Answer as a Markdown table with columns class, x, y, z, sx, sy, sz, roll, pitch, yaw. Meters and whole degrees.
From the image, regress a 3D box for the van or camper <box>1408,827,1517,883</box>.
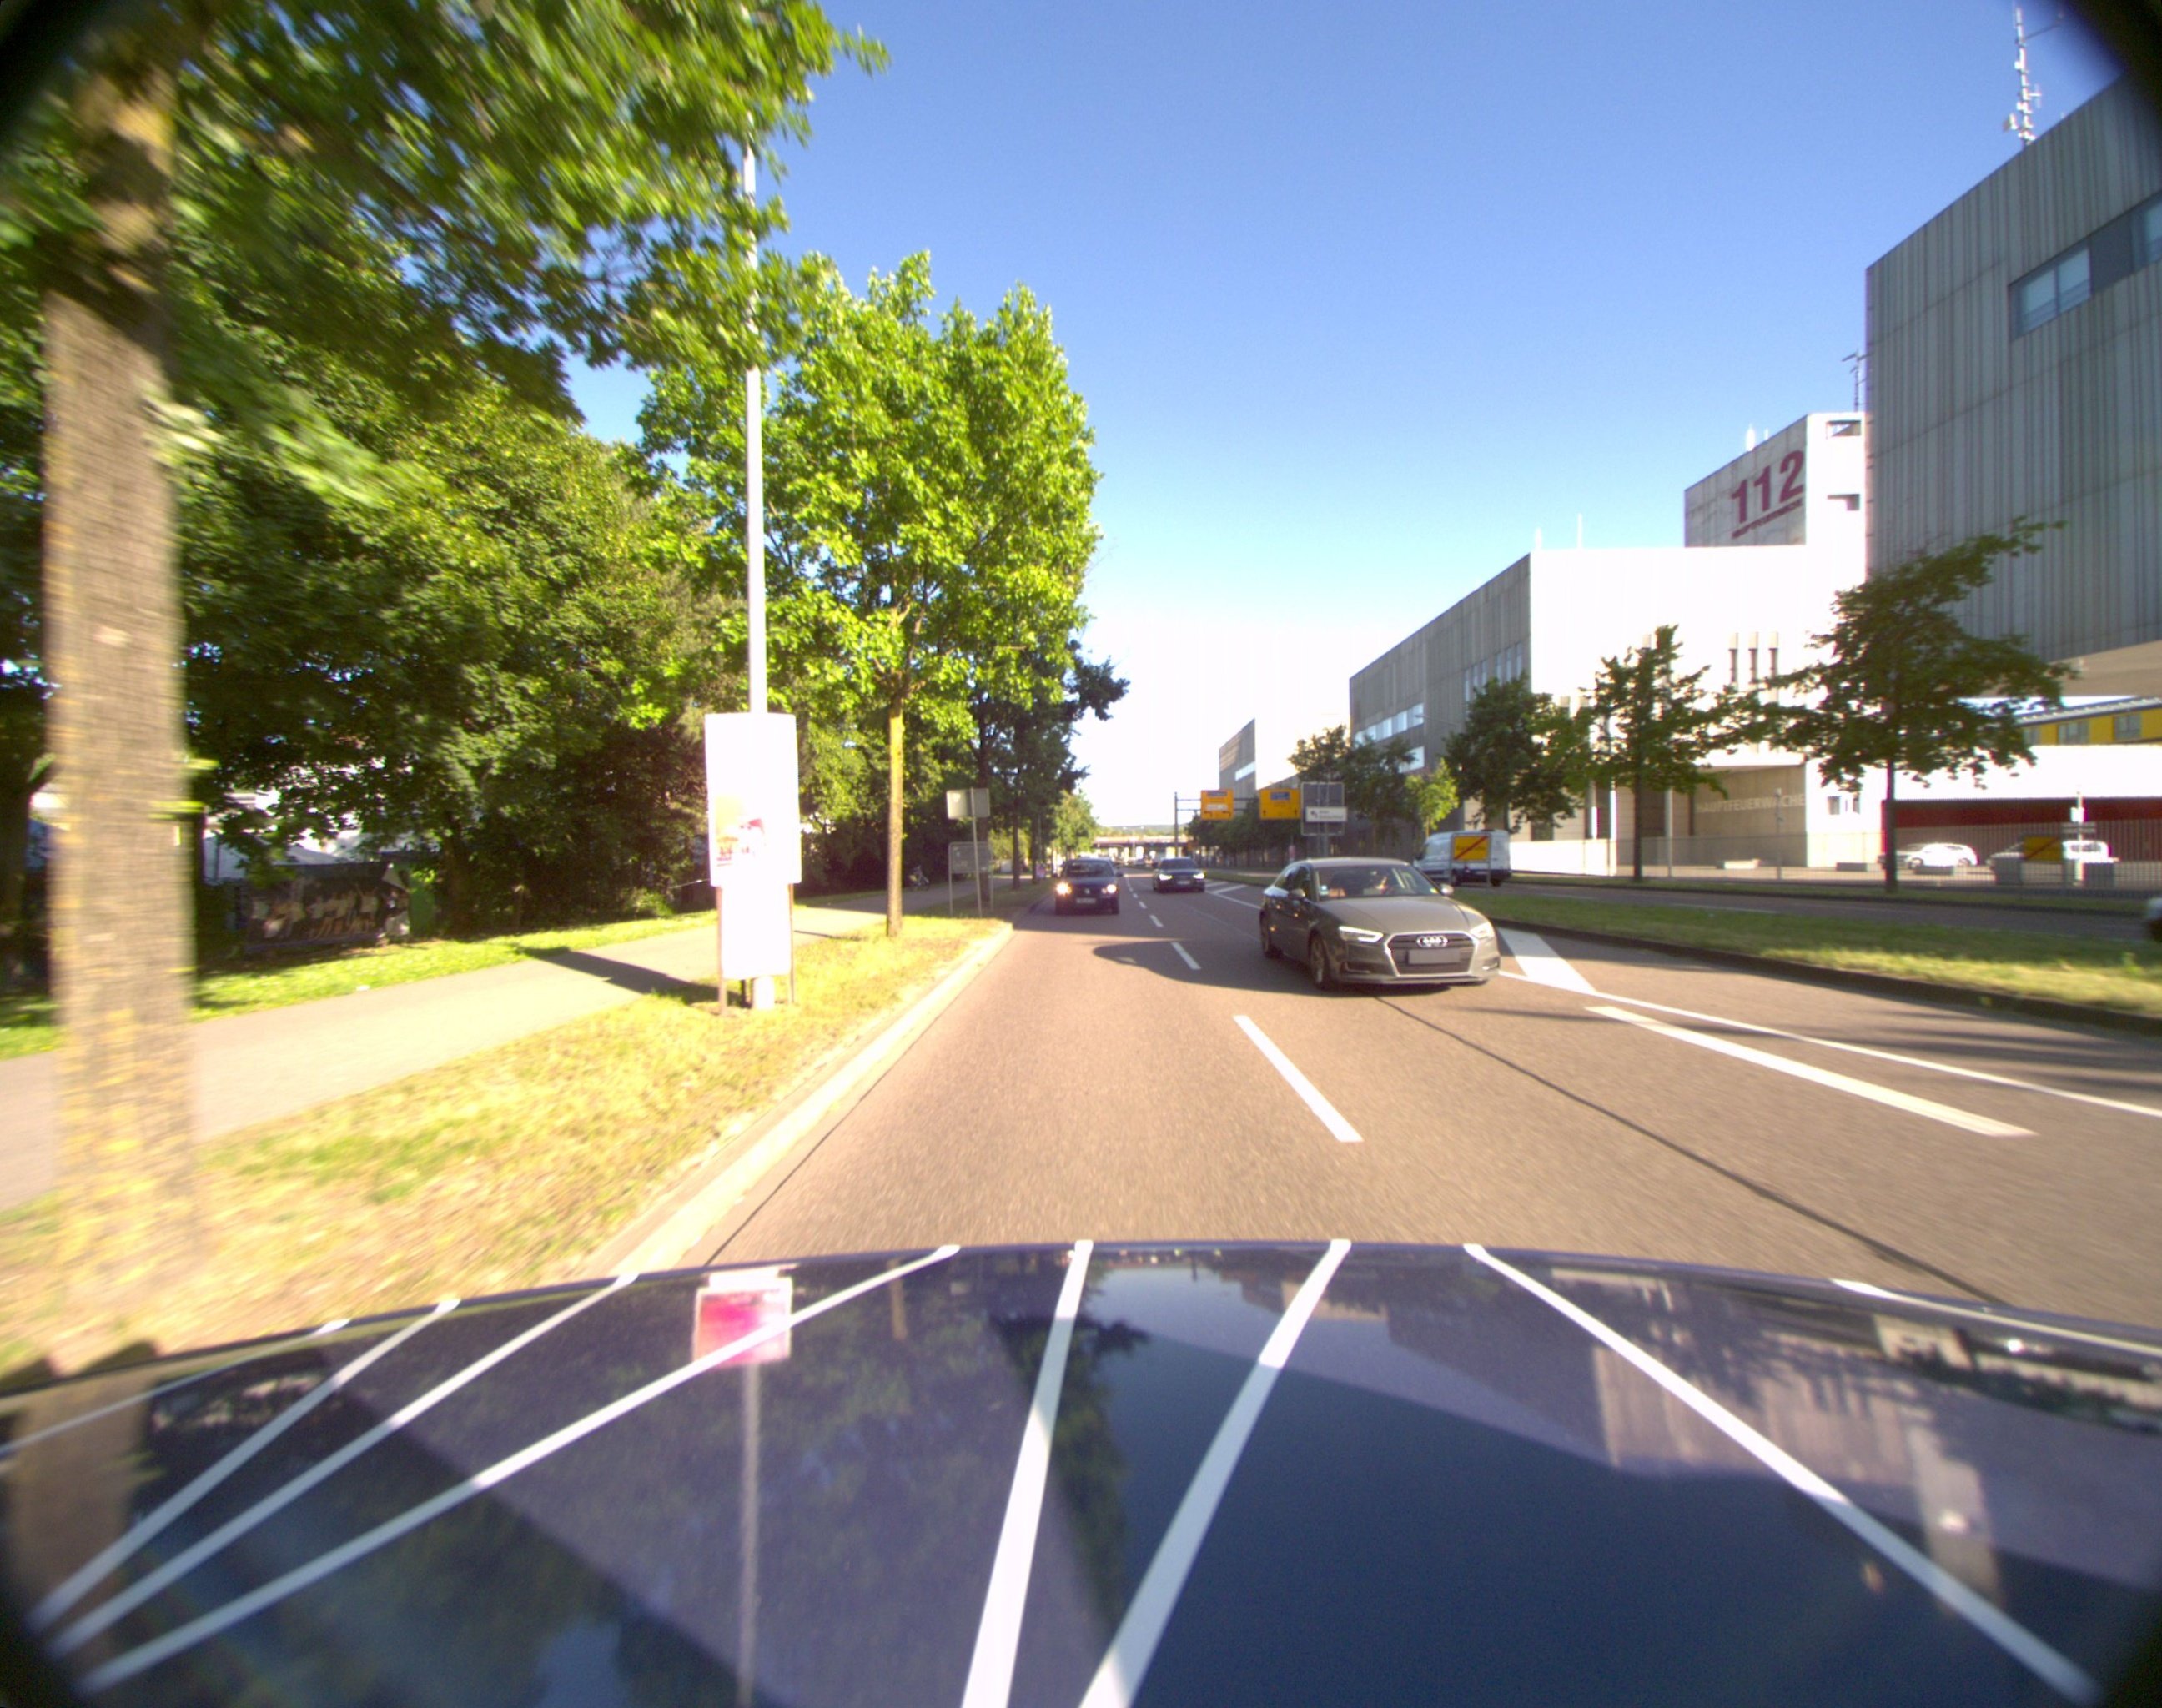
| class | x | y | z | sx | sy | sz | roll | pitch | yaw |
| --- | --- | --- | --- | --- | --- | --- | --- | --- | --- |
| van or camper | 17.313 | 0.040 | 34.882 | 1.998 | 2.355 | 5.993 | 1 | 0 | 1 |

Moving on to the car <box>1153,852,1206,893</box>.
| class | x | y | z | sx | sy | sz | roll | pitch | yaw |
| --- | --- | --- | --- | --- | --- | --- | --- | --- | --- |
| car | 4.037 | 0.724 | 31.603 | 1.702 | 1.528 | 3.947 | -2 | 0 | 1 |

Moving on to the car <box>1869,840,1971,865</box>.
| class | x | y | z | sx | sy | sz | roll | pitch | yaw |
| --- | --- | --- | --- | --- | --- | --- | --- | --- | --- |
| car | 52.128 | -0.096 | 47.264 | 4.266 | 1.444 | 1.762 | -1 | 0 | 3 |

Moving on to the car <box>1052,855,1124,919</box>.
| class | x | y | z | sx | sy | sz | roll | pitch | yaw |
| --- | --- | --- | --- | --- | --- | --- | --- | --- | --- |
| car | 0.197 | 0.817 | 20.611 | 1.702 | 1.474 | 4.052 | -2 | 1 | 1 |

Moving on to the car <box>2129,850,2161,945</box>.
| class | x | y | z | sx | sy | sz | roll | pitch | yaw |
| --- | --- | --- | --- | --- | --- | --- | --- | --- | --- |
| car | 13.624 | 0.507 | 7.121 | 1.832 | 1.105 | 4.174 | -1 | 0 | -1 |

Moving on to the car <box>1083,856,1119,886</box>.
| class | x | y | z | sx | sy | sz | roll | pitch | yaw |
| --- | --- | --- | --- | --- | --- | --- | --- | --- | --- |
| car | 1.009 | 0.834 | 39.403 | 1.702 | 1.478 | 3.946 | -1 | 0 | 1 |

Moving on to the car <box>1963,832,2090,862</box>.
| class | x | y | z | sx | sy | sz | roll | pitch | yaw |
| --- | --- | --- | --- | --- | --- | --- | --- | --- | --- |
| car | 51.442 | -0.366 | 41.410 | 4.398 | 1.494 | 1.936 | -1 | 0 | 3 |

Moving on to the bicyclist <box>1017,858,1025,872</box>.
| class | x | y | z | sx | sy | sz | roll | pitch | yaw |
| --- | --- | --- | --- | --- | --- | --- | --- | --- | --- |
| bicyclist | -6.400 | 1.173 | 81.132 | 0.686 | 1.513 | 1.036 | -1 | 0 | -2 |

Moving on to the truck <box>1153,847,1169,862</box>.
| class | x | y | z | sx | sy | sz | roll | pitch | yaw |
| --- | --- | --- | --- | --- | --- | --- | --- | --- | --- |
| truck | 16.470 | 0.106 | 156.247 | 2.692 | 2.943 | 7.115 | 1 | 0 | 2 |

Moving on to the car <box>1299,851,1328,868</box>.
| class | x | y | z | sx | sy | sz | roll | pitch | yaw |
| --- | --- | --- | --- | --- | --- | --- | --- | --- | --- |
| car | 20.433 | 0.468 | 66.763 | 1.449 | 1.428 | 3.459 | -1 | 0 | 0 |

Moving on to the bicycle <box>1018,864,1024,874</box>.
| class | x | y | z | sx | sy | sz | roll | pitch | yaw |
| --- | --- | --- | --- | --- | --- | --- | --- | --- | --- |
| bicycle | -6.437 | 1.624 | 81.166 | 0.517 | 1.066 | 1.936 | -1 | 0 | -2 |

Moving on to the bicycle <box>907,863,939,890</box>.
| class | x | y | z | sx | sy | sz | roll | pitch | yaw |
| --- | --- | --- | --- | --- | --- | --- | --- | --- | --- |
| bicycle | -6.827 | 0.961 | 32.843 | 0.775 | 1.124 | 1.709 | -1 | 0 | 9 |

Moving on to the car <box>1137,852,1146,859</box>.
| class | x | y | z | sx | sy | sz | roll | pitch | yaw |
| --- | --- | --- | --- | --- | --- | --- | --- | --- | --- |
| car | 13.811 | 0.324 | 174.516 | 1.828 | 1.672 | 4.659 | 1 | 0 | 1 |

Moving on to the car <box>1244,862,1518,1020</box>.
| class | x | y | z | sx | sy | sz | roll | pitch | yaw |
| --- | --- | --- | --- | --- | --- | --- | --- | --- | --- |
| car | 3.318 | 0.853 | 9.399 | 1.702 | 1.396 | 4.365 | -2 | 0 | 1 |
